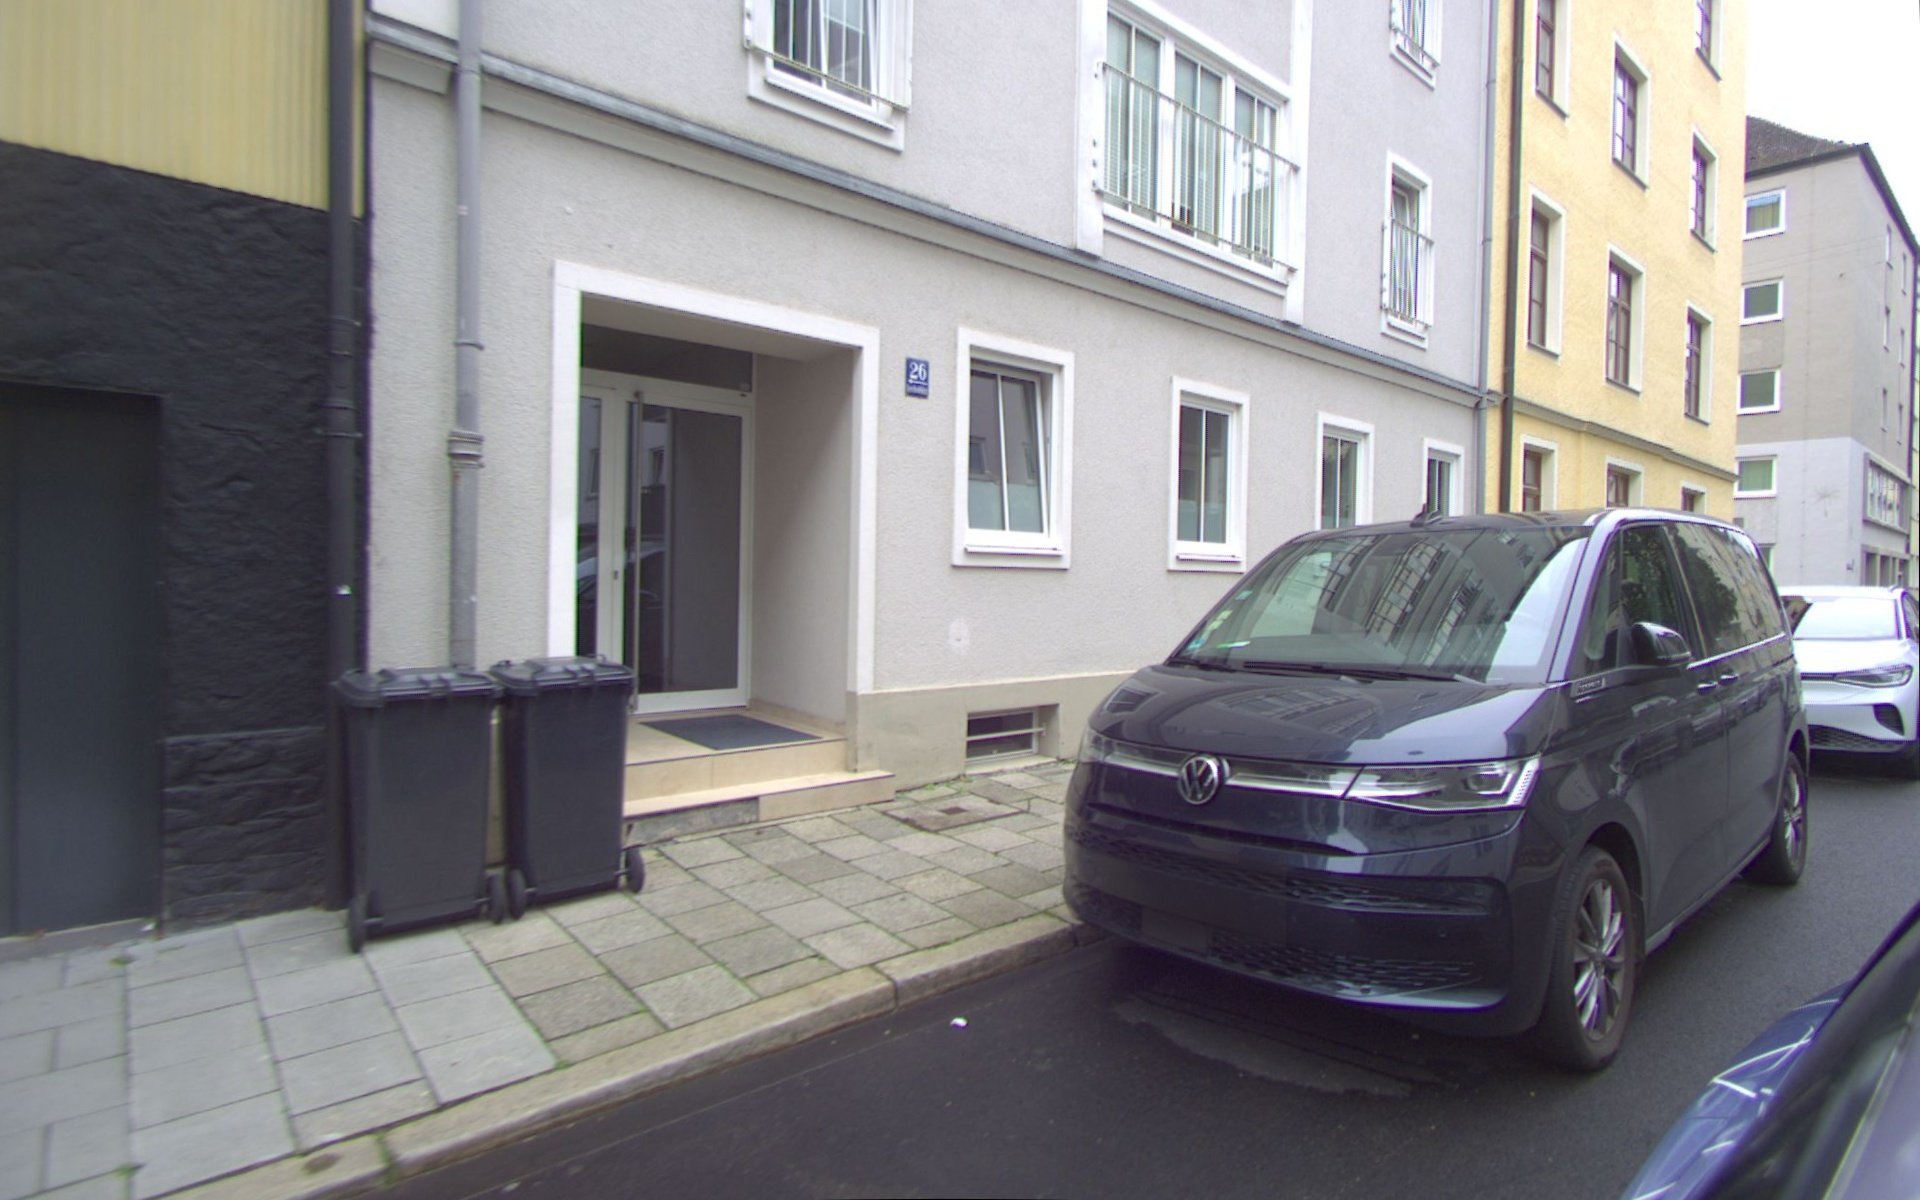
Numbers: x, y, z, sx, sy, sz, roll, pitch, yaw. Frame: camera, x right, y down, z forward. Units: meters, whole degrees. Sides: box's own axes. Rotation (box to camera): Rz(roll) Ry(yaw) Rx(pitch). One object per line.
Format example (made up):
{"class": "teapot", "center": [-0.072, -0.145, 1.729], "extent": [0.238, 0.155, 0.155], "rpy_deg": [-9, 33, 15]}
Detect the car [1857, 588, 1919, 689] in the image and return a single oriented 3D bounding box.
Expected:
{"class": "car", "center": [16.037, 0.581, 16.466], "extent": [3.790, 1.523, 1.690], "rpy_deg": [0, 2, -41]}

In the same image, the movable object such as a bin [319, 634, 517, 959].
{"class": "movable object such as a bin", "center": [-2.288, 0.746, 4.249], "extent": [0.564, 1.153, 0.796], "rpy_deg": [0, 1, -42]}

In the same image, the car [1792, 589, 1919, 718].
{"class": "car", "center": [12.670, 0.628, 13.609], "extent": [3.790, 1.523, 1.690], "rpy_deg": [0, 2, -41]}

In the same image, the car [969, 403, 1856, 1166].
{"class": "car", "center": [2.599, 0.434, 4.914], "extent": [5.094, 1.862, 1.985], "rpy_deg": [-1, 0, -41]}

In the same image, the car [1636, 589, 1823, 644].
{"class": "car", "center": [22.494, 0.425, 29.665], "extent": [1.941, 1.398, 4.151], "rpy_deg": [-1, 2, -45]}

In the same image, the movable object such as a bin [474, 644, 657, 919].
{"class": "movable object such as a bin", "center": [-1.818, 0.765, 4.633], "extent": [0.537, 1.067, 0.796], "rpy_deg": [0, 1, -42]}

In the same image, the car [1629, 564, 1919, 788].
{"class": "car", "center": [8.334, 0.532, 9.814], "extent": [4.462, 1.695, 1.965], "rpy_deg": [0, 2, -41]}
